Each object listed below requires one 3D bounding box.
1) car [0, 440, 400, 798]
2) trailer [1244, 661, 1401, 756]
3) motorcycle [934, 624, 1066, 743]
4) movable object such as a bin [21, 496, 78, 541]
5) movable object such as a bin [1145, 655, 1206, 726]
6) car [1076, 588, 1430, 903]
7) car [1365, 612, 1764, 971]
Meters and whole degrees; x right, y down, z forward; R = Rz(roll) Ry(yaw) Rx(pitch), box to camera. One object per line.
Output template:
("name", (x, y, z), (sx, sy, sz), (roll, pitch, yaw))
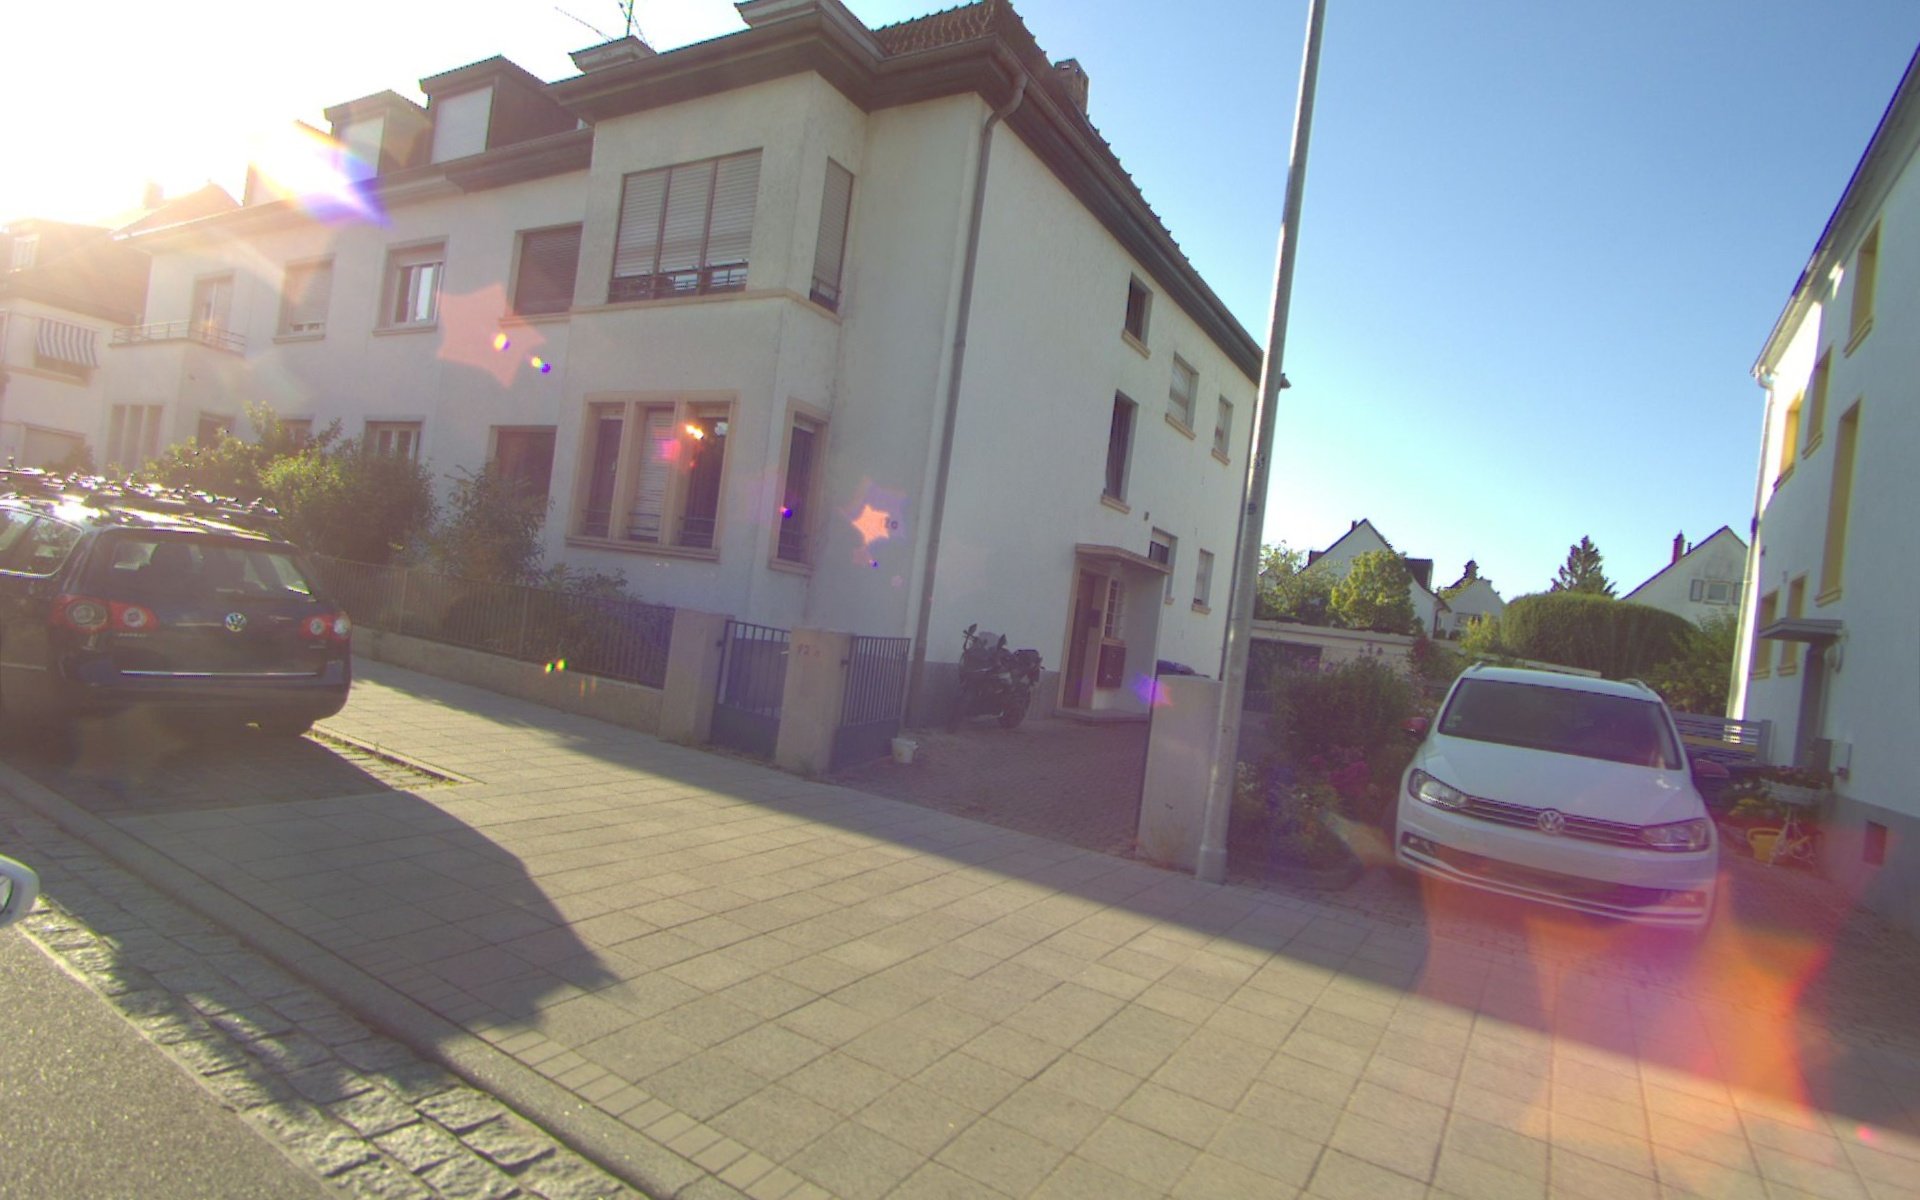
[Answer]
("car", (-6.056, -0.088, 6.987), (4.398, 1.794, 1.795), (8, 2, 32))
("trailer", (6.899, 2.019, 18.865), (1.966, 1.277, 4.072), (8, -1, 30))
("motorcycle", (0.538, 1.007, 12.236), (0.588, 1.263, 2.073), (7, 0, 29))
("movable object such as a bin", (-26.445, -2.369, 29.239), (0.777, 1.113, 0.986), (7, -2, 36))
("movable object such as a bin", (3.867, 1.625, 18.015), (0.684, 1.150, 0.888), (7, -2, 31))
("car", (2.697, 1.029, 8.405), (1.821, 1.747, 4.225), (7, 0, 29))
("car", (4.437, 1.258, 7.744), (1.821, 1.745, 4.229), (7, -2, 29))
